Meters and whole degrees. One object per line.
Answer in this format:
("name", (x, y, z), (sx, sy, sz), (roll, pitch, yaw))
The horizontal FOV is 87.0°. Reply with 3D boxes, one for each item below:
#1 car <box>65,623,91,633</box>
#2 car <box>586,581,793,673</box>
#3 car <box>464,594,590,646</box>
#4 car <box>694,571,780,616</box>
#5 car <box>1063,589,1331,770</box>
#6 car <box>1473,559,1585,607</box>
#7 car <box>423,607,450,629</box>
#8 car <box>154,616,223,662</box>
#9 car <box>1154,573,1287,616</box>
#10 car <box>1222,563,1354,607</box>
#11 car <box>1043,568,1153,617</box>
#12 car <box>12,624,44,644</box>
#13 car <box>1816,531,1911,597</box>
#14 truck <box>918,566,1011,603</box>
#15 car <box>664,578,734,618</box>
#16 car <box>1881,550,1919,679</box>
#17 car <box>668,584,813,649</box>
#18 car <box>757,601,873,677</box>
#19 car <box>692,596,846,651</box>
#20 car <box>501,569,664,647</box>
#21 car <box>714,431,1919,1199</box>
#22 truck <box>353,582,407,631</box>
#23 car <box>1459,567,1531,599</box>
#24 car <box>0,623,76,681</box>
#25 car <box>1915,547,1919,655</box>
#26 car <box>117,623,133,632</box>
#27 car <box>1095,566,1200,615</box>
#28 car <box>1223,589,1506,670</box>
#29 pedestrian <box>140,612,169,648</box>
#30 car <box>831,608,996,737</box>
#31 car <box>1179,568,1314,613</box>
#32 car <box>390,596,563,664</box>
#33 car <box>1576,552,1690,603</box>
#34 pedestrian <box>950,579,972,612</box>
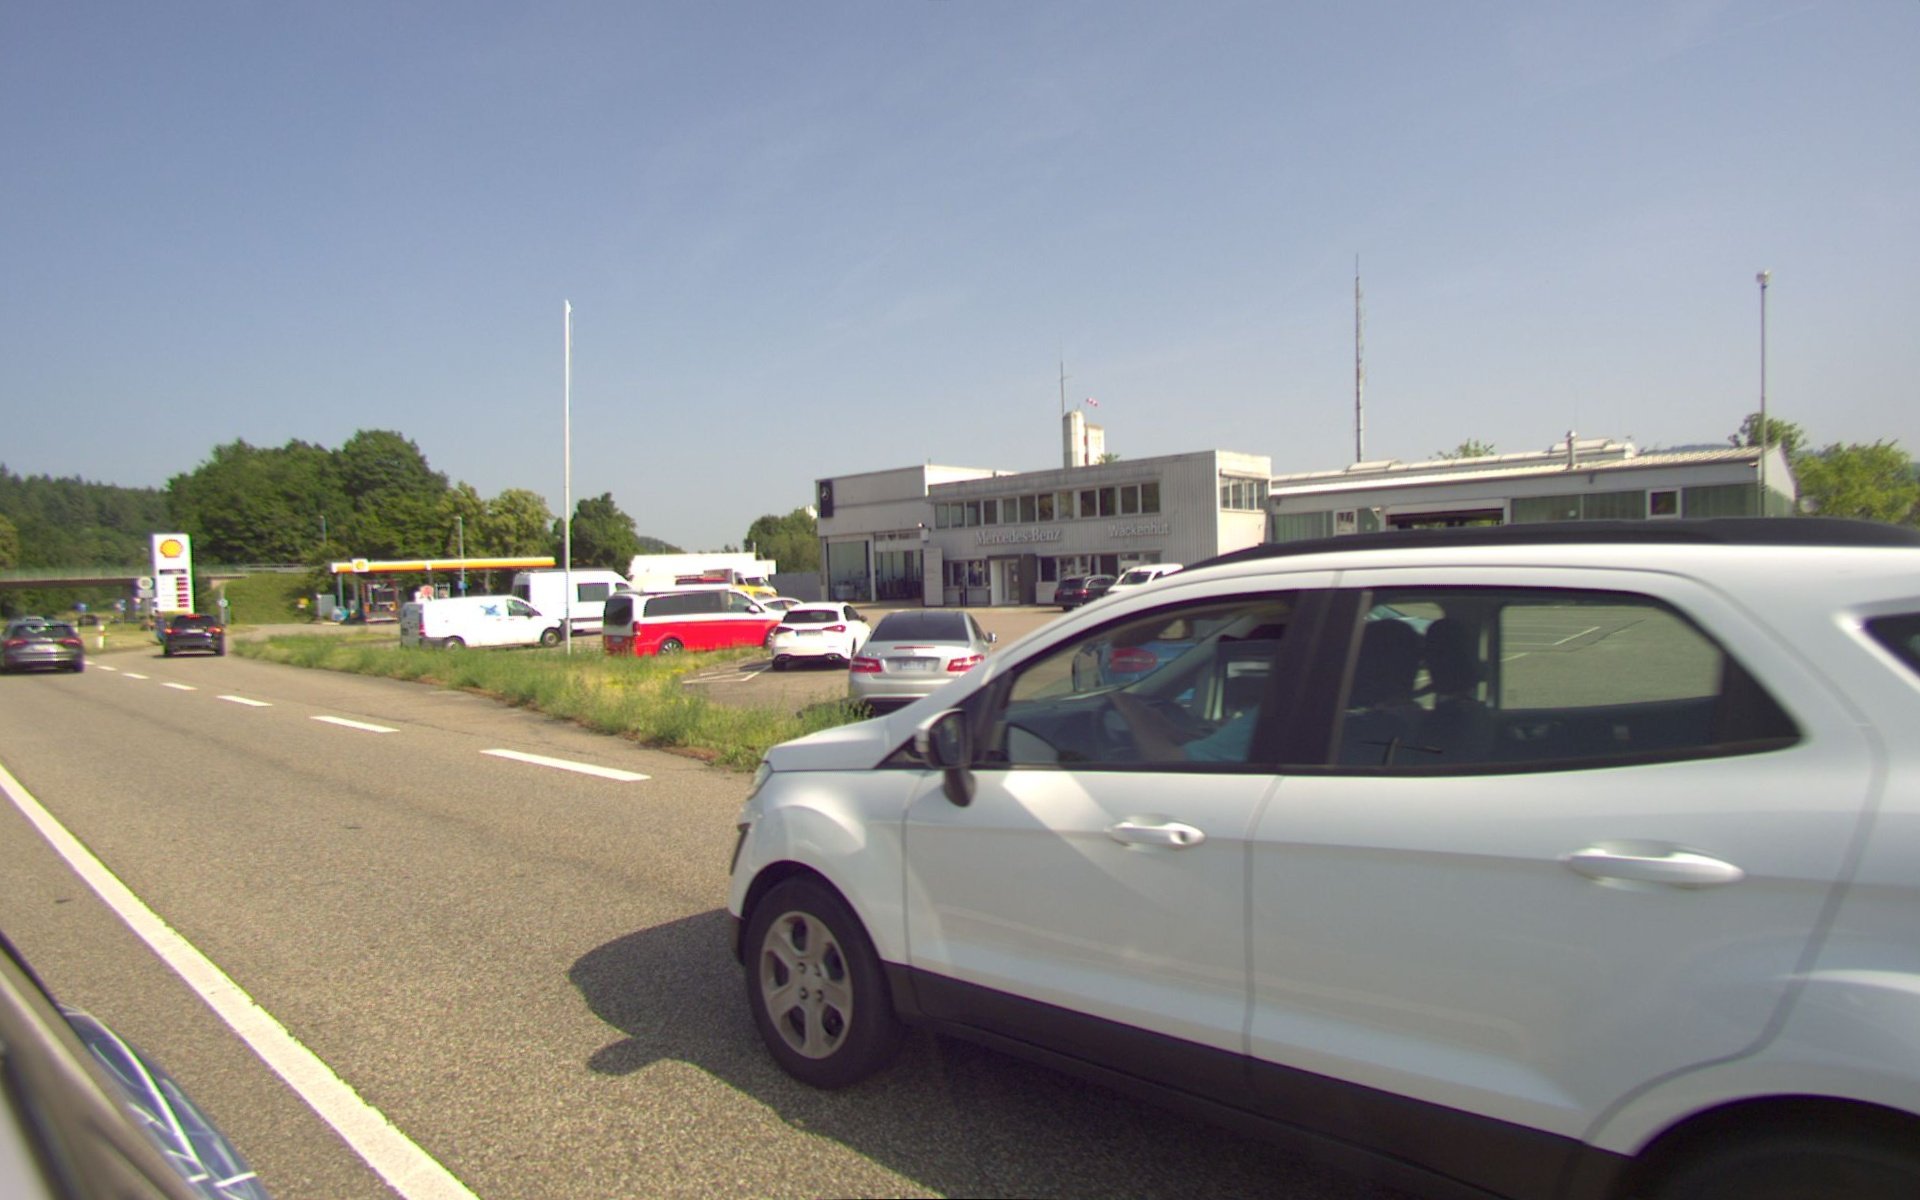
("car", (-110.490, 3.474, 126.859), (1.778, 1.181, 4.112), (0, -1, -32))
("car", (-6.994, 0.634, 26.605), (2.228, 1.996, 4.742), (-2, 2, 42))
("car", (-18.220, 0.811, 42.728), (1.986, 1.853, 4.398), (-1, 2, 42))
("car", (-15.151, -0.411, 68.467), (6.529, 2.877, 2.368), (-2, 0, 44))
("car", (2.245, 0.697, 10.825), (1.958, 1.518, 4.230), (-2, 0, 2))
("car", (20.717, -0.626, 36.768), (4.759, 1.578, 2.213), (-2, 0, -44))
("car", (-39.811, 1.347, 76.956), (1.691, 1.578, 4.672), (-2, 0, -28))
("car", (-29.775, 1.531, 39.019), (1.789, 1.642, 4.547), (1, -4, -41))
("car", (9.752, -0.196, 38.125), (4.567, 1.503, 1.786), (0, 1, 43))
("car", (13.403, -0.582, 41.568), (4.830, 1.578, 1.786), (-3, -1, 43))
("car", (5.940, -0.342, 43.142), (2.212, 1.868, 4.762), (-3, 0, 44))
("car", (-73.299, 2.654, 79.614), (1.656, 1.484, 3.712), (0, -1, -40))
("car", (30.975, -1.213, 34.709), (2.211, 2.038, 4.763), (-3, 0, 42))
("truck", (0.356, -1.040, 68.941), (2.450, 2.375, 6.805), (-1, 0, 42))
("car", (-16.973, -0.124, 65.732), (5.224, 2.404, 1.860), (-2, 0, 44))
("car", (14.991, 0.093, 12.753), (4.938, 1.726, 1.786), (-3, -1, 43))
("car", (-7.317, 0.522, 34.031), (2.001, 1.821, 4.335), (-2, 2, 42))
("car", (-3.165, 0.815, 22.964), (1.872, 1.413, 4.228), (-2, 1, 2))
("car", (-5.900, 0.690, 31.697), (1.966, 1.409, 4.418), (-1, 2, 42))
("car", (-15.255, 0.255, 41.173), (2.286, 2.765, 5.658), (-1, 2, 43))
("car", (1.395, 0.598, 2.567), (4.223, 1.642, 1.774), (-1, -1, 40))
("truck", (-54.616, 0.603, 95.705), (3.010, 4.165, 16.828), (-1, 0, -25))
("car", (28.537, -0.870, 54.153), (2.189, 1.578, 4.556), (-2, 0, 13))
("car", (-25.737, 1.384, 28.023), (1.731, 1.486, 4.290), (0, -1, -44))
("car", (13.497, 0.141, 11.035), (4.408, 1.726, 1.785), (-3, -1, 43))
("car", (-129.832, 4.264, 157.367), (1.655, 1.366, 3.932), (0, -1, -35))
("car", (7.792, -0.409, 41.754), (1.953, 1.868, 4.762), (-3, -1, 44))
("car", (7.828, 0.591, 19.917), (4.830, 1.397, 1.786), (-3, -1, 43))
("pedestrian", (-38.201, 1.409, 47.996), (0.836, 1.702, 1.147), (-1, 0, -28))
("car", (-0.452, 0.832, 13.516), (1.828, 1.378, 4.392), (-2, 0, 2))
("car", (11.309, -0.354, 40.166), (4.830, 1.578, 1.786), (-3, -1, 43))
("car", (-15.799, 0.918, 33.243), (2.143, 1.871, 4.622), (-2, 1, 42))
("car", (23.238, -0.775, 34.877), (4.759, 1.578, 2.213), (-2, 0, -44))
("pedestrian", (0.055, -0.246, 52.717), (0.850, 1.702, 0.812), (-1, 0, 40))
